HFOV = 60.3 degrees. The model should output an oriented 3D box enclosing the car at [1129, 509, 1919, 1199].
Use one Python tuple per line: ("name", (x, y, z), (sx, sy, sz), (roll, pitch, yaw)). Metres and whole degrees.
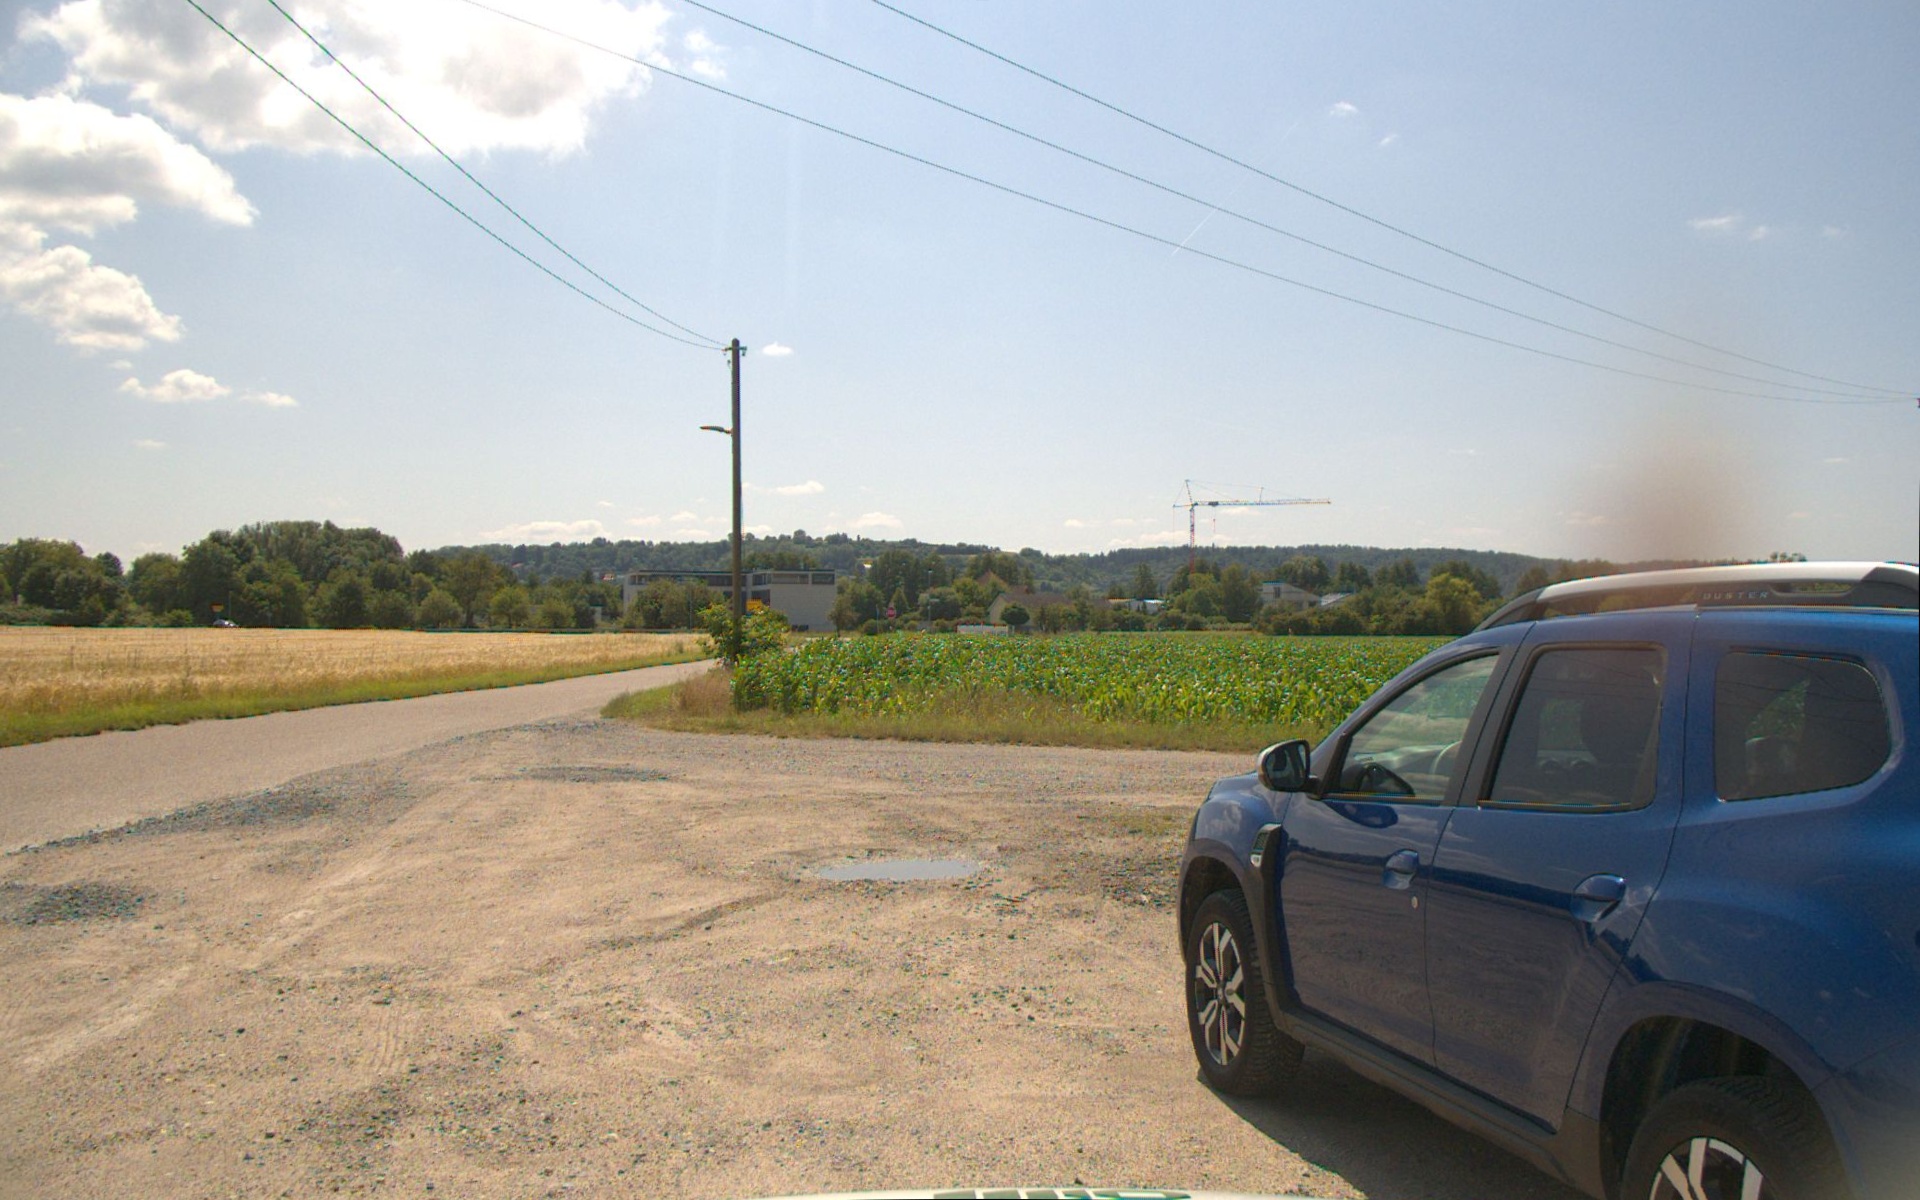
("car", (2.031, 0.768, 4.593), (1.826, 1.690, 4.444), (1, -2, -12))
